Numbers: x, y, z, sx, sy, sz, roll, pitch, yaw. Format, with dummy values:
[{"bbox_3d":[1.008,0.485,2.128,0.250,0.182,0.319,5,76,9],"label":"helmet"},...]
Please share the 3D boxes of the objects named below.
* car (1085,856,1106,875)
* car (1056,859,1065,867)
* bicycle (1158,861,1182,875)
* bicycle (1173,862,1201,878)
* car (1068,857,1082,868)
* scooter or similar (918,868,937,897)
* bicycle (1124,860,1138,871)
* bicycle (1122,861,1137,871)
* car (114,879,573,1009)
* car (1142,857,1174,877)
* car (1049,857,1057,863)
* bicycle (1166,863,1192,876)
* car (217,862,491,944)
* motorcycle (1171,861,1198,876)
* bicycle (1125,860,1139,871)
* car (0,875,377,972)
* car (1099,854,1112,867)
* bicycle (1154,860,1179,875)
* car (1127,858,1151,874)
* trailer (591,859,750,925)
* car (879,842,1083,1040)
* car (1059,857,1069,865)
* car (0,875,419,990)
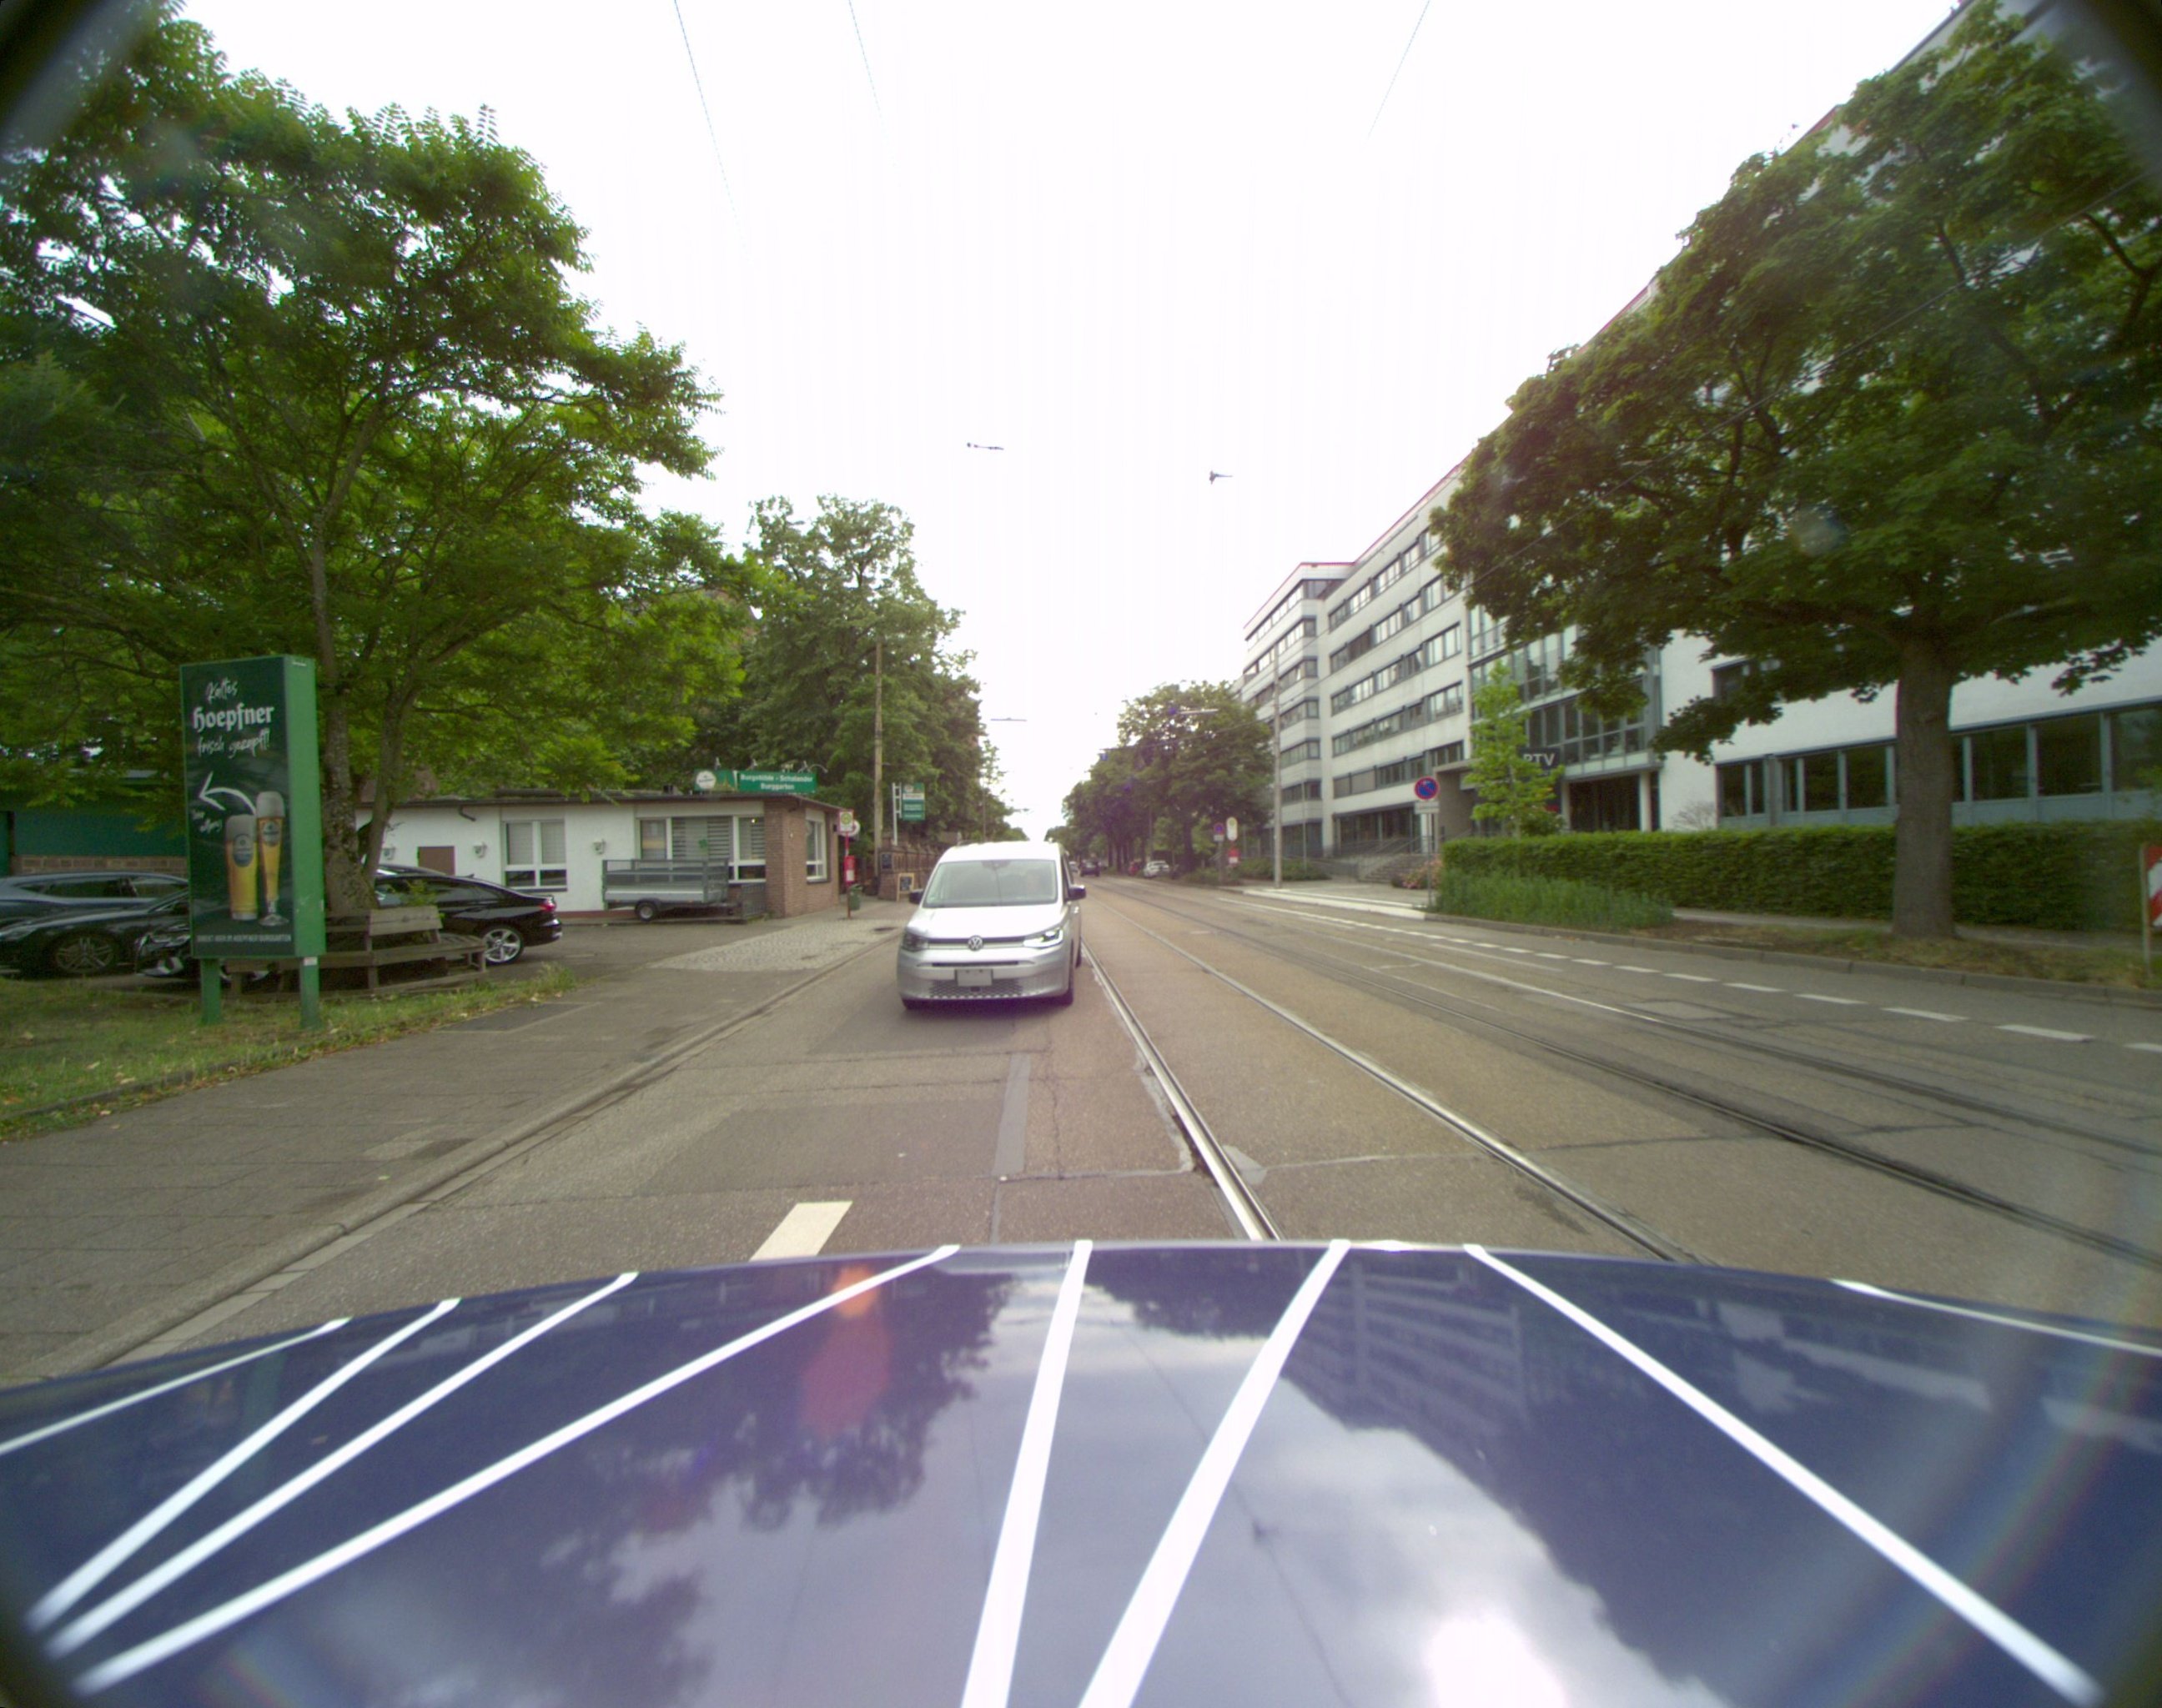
[{"bbox_3d":[1.403,1.140,75.699,1.832,1.727,4.334,-1,0,-2],"label":"car"},{"bbox_3d":[-4.558,2.058,169.014,1.847,1.644,4.388,1,-1,-3],"label":"car"},{"bbox_3d":[6.970,1.098,59.561,1.812,1.093,0.632,-1,1,-9],"label":"bicycle"},{"bbox_3d":[7.440,1.114,53.338,1.834,1.047,0.741,-2,0,-12],"label":"bicycle"},{"bbox_3d":[-0.908,1.166,107.320,1.708,1.521,3.740,-2,0,-4],"label":"car"},{"bbox_3d":[-6.943,1.270,34.432,0.578,1.232,1.409,2,0,-3],"label":"scooter or similar"},{"bbox_3d":[5.587,1.291,85.206,1.473,1.134,0.617,-3,1,-4],"label":"bicycle"},{"bbox_3d":[5.390,1.309,83.684,1.475,1.085,0.616,-3,1,-15],"label":"bicycle"},{"bbox_3d":[-10.482,1.129,11.216,1.930,1.399,4.594,-1,-1,41],"label":"car"},{"bbox_3d":[6.382,1.060,63.766,1.886,1.484,4.752,-3,0,-3],"label":"car"},{"bbox_3d":[-7.415,1.669,200.558,1.746,1.490,4.259,-2,0,-5],"label":"car"},{"bbox_3d":[7.361,1.169,57.188,1.812,0.894,0.632,-1,1,-9],"label":"bicycle"},{"bbox_3d":[-16.644,1.075,17.559,4.434,1.637,1.991,-2,0,2],"label":"car"},{"bbox_3d":[7.571,1.045,55.685,1.794,1.044,0.732,-2,1,-10],"label":"motorcycle"},{"bbox_3d":[5.664,1.292,84.704,1.473,1.134,0.617,-1,1,-4],"label":"bicycle"},{"bbox_3d":[-16.081,1.123,13.818,1.980,1.450,4.501,-1,-2,36],"label":"car"},{"bbox_3d":[3.674,0.981,114.630,1.815,1.699,3.999,-3,1,0],"label":"car"},{"bbox_3d":[6.826,1.060,60.716,1.869,1.180,0.632,0,1,1],"label":"bicycle"},{"bbox_3d":[5.861,1.162,76.965,1.633,1.439,3.755,-4,1,-7],"label":"car"},{"bbox_3d":[-10.453,0.944,19.519,3.170,1.530,1.620,-2,1,-2],"label":"trailer"},{"bbox_3d":[-0.928,0.822,9.488,1.850,1.796,4.937,-1,0,0],"label":"car"},{"bbox_3d":[-3.014,1.260,134.397,1.752,1.477,4.062,-1,-1,-3],"label":"car"},{"bbox_3d":[-14.039,1.130,12.449,1.872,1.419,4.552,2,1,39],"label":"car"}]
